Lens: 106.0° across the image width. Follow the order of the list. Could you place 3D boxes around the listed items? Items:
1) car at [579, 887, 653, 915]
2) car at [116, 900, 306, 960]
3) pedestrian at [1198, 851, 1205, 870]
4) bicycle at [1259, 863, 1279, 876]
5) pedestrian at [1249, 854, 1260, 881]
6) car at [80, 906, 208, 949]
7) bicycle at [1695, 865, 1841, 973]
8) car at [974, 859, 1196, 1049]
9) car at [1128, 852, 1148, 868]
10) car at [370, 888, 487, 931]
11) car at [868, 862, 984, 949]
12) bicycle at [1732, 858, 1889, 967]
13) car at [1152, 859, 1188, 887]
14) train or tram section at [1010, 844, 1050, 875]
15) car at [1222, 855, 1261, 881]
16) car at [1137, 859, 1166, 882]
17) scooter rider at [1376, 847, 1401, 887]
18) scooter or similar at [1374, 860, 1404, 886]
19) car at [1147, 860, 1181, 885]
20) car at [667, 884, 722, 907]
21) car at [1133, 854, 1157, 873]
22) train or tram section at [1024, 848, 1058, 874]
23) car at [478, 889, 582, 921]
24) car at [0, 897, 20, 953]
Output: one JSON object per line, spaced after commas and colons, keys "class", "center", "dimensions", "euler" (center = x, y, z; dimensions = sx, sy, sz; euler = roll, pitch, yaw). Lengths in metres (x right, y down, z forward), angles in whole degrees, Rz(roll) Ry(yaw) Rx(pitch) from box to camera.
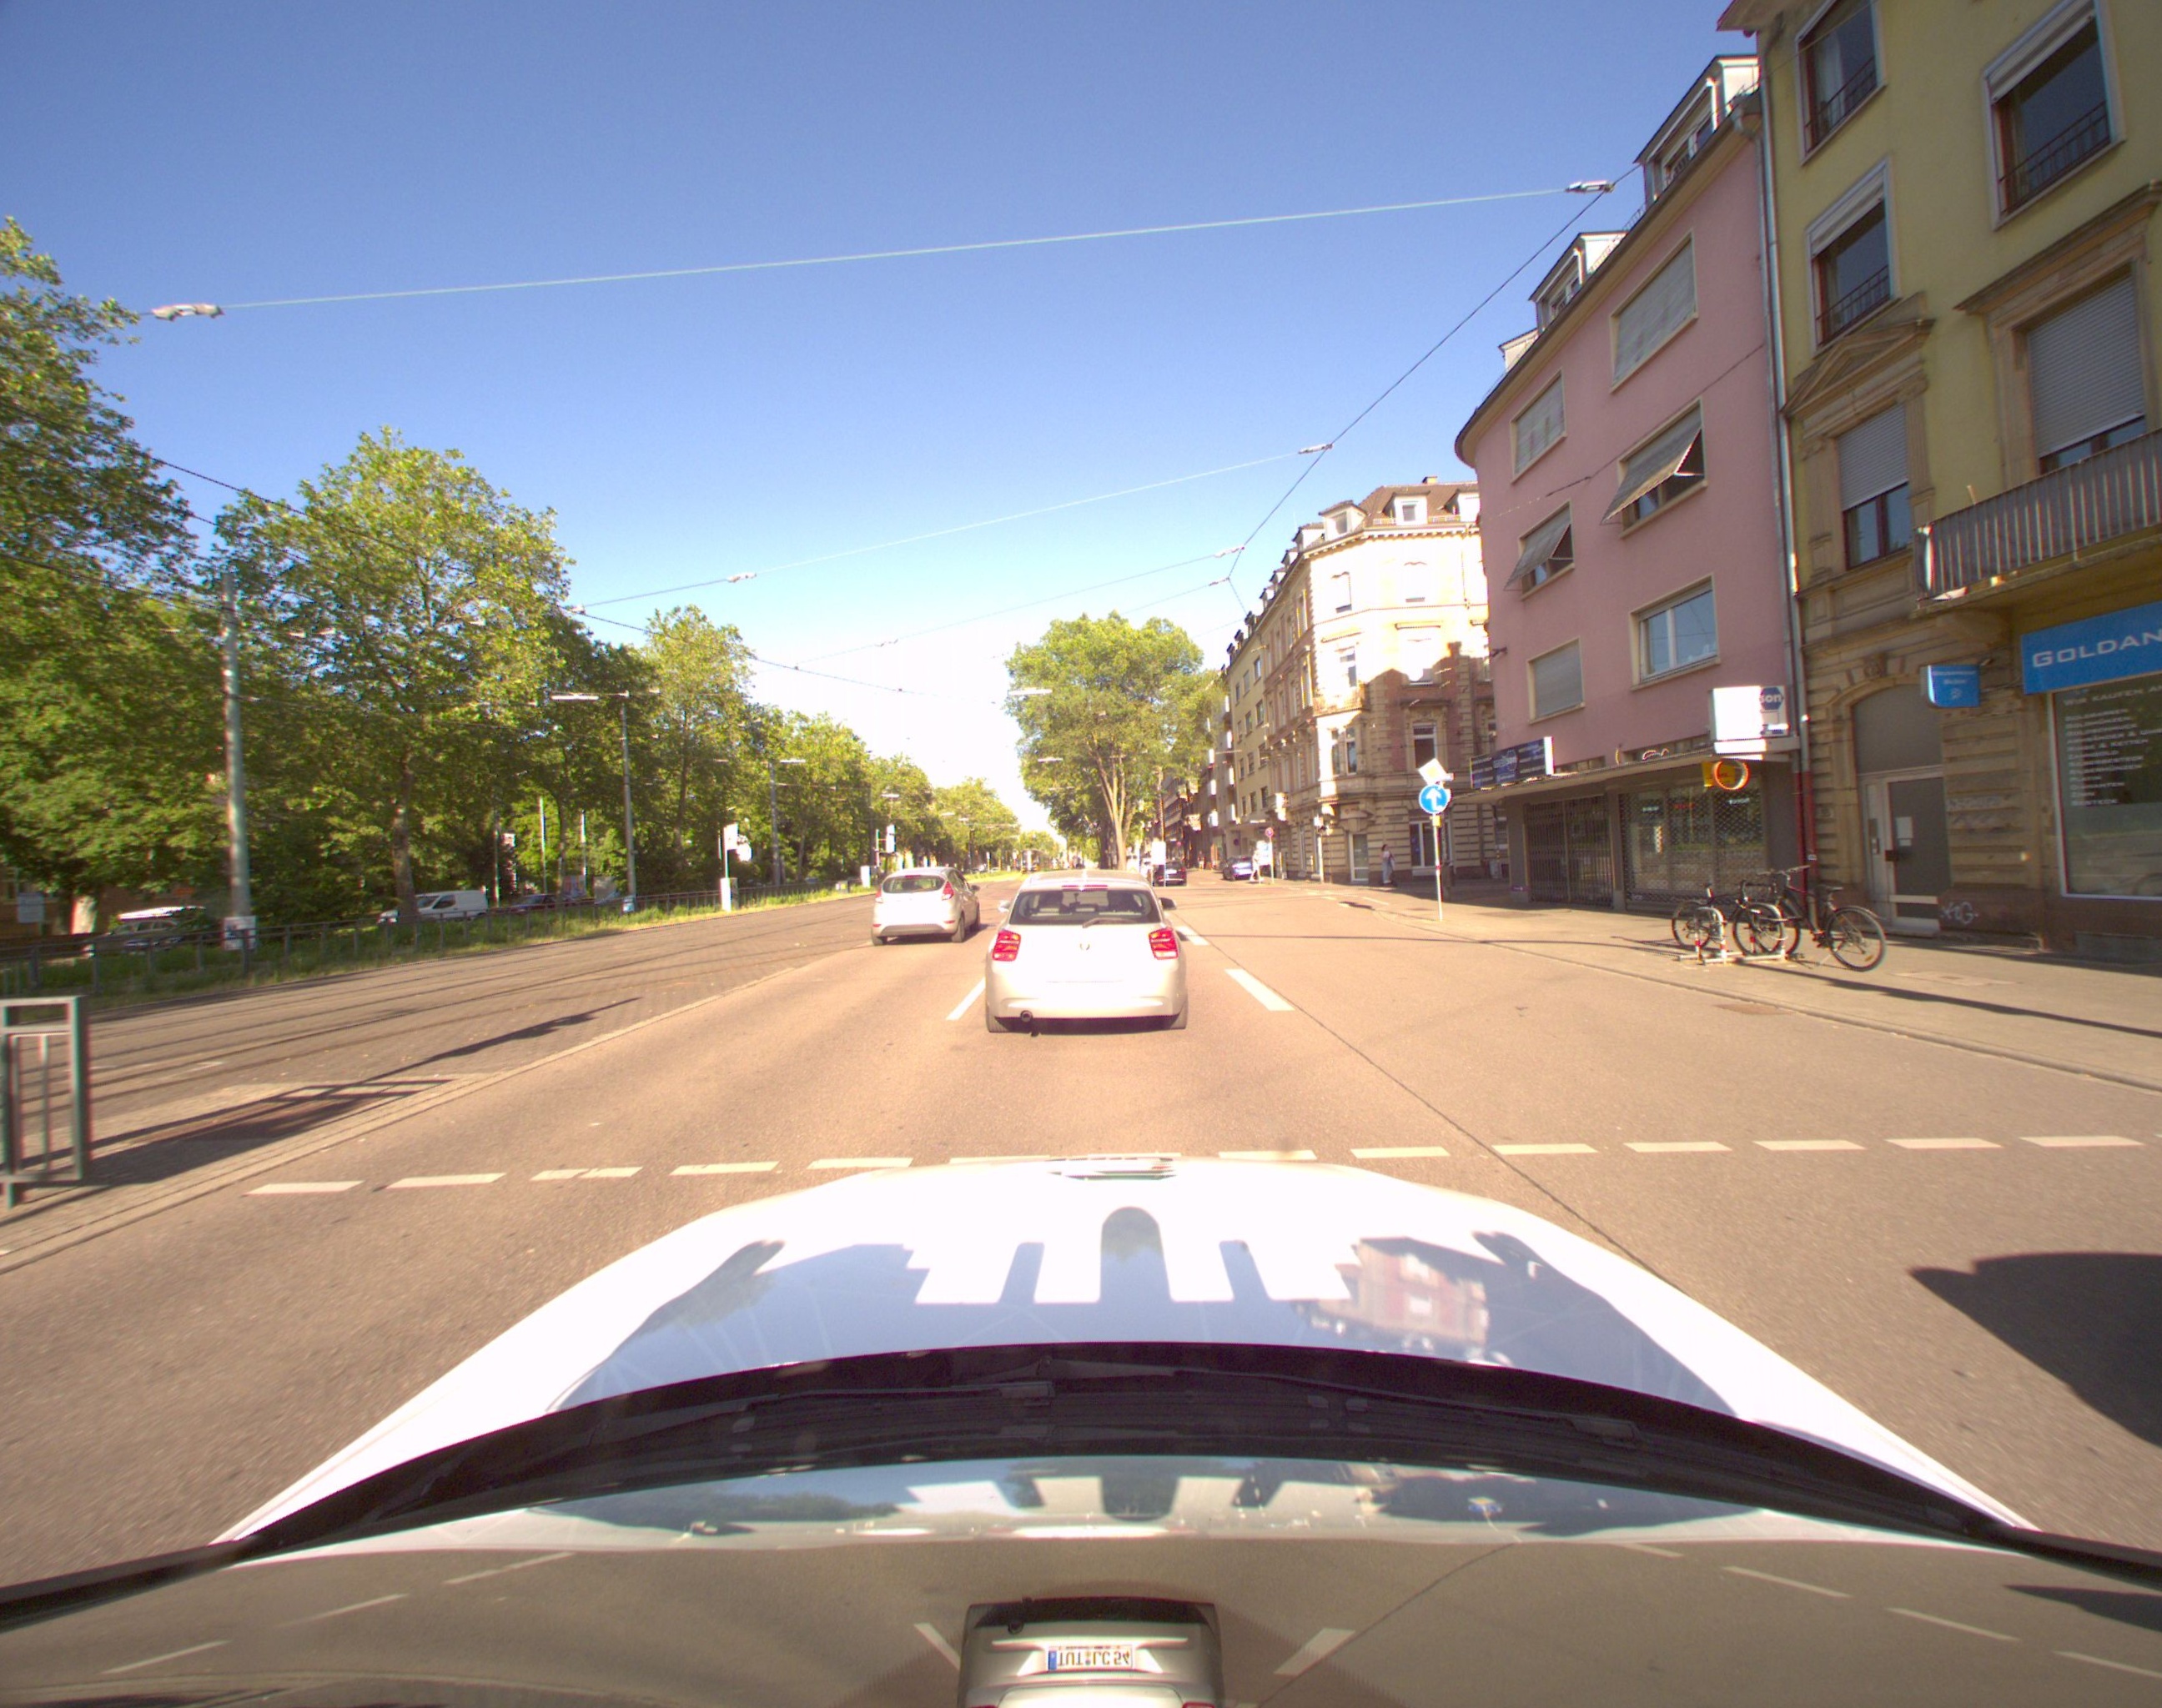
{"class": "car", "center": [-27.945, 2.798, 49.112], "dimensions": [1.929, 1.509, 4.278], "euler": [-2, -2, 0]}
{"class": "car", "center": [-28.224, 2.418, 26.644], "dimensions": [1.664, 1.509, 4.145], "euler": [-3, 0, 0]}
{"class": "pedestrian", "center": [11.644, 0.608, 78.576], "dimensions": [0.503, 1.802, 0.806], "euler": [-3, -1, 1]}
{"class": "bicycle", "center": [11.681, 0.980, 50.683], "dimensions": [0.752, 0.770, 1.945], "euler": [-2, 0, 0]}
{"class": "pedestrian", "center": [10.295, 0.781, 48.251], "dimensions": [0.554, 1.557, 0.390], "euler": [-3, -1, 6]}
{"class": "car", "center": [-39.071, 3.055, 33.982], "dimensions": [3.968, 1.494, 1.395], "euler": [-3, -1, 5]}
{"class": "bicycle", "center": [8.184, 0.727, 9.799], "dimensions": [0.411, 1.141, 1.813], "euler": [-2, 0, 8]}
{"class": "car", "center": [0.091, 0.804, 8.434], "dimensions": [1.733, 1.467, 4.001], "euler": [-1, 0, 2]}
{"class": "car", "center": [5.676, 0.566, 81.158], "dimensions": [1.719, 1.507, 3.555], "euler": [-1, 0, 0]}
{"class": "car", "center": [-28.228, 2.358, 35.397], "dimensions": [1.664, 1.509, 4.145], "euler": [-2, 0, 0]}
{"class": "car", "center": [-3.000, 0.939, 16.524], "dimensions": [1.604, 1.467, 3.888], "euler": [-2, 0, -1]}
{"class": "bicycle", "center": [8.679, 0.645, 9.784], "dimensions": [0.446, 1.159, 1.762], "euler": [-3, 0, 8]}
{"class": "car", "center": [4.821, 1.008, 44.586], "dimensions": [1.728, 1.433, 3.681], "euler": [-1, 0, 3]}
{"class": "train or tram section", "center": [-7.089, 0.793, 117.225], "dimensions": [3.954, 3.866, 17.495], "euler": [-2, 0, 2]}
{"class": "car", "center": [9.895, 0.827, 50.500], "dimensions": [1.729, 1.519, 3.637], "euler": [-1, 0, 1]}
{"class": "car", "center": [4.807, 1.090, 55.853], "dimensions": [1.719, 1.507, 3.555], "euler": [-1, 0, 0]}
{"class": "scooter rider", "center": [12.077, 0.513, 31.978], "dimensions": [0.467, 1.505, 0.806], "euler": [-2, -1, -18]}
{"class": "scooter or similar", "center": [12.079, 0.754, 31.954], "dimensions": [0.338, 0.988, 1.276], "euler": [-2, 0, -18]}
{"class": "car", "center": [5.043, 1.078, 49.718], "dimensions": [1.738, 1.433, 3.555], "euler": [-1, 0, 0]}
{"class": "car", "center": [-28.368, 3.038, 59.907], "dimensions": [1.929, 1.509, 4.278], "euler": [-2, -2, 0]}
{"class": "car", "center": [5.342, 0.783, 68.619], "dimensions": [1.719, 1.507, 3.555], "euler": [-1, 0, 0]}
{"class": "train or tram section", "center": [-6.497, 1.137, 134.586], "dimensions": [3.990, 3.866, 17.495], "euler": [-2, 0, 2]}
{"class": "car", "center": [-27.962, 2.562, 41.556], "dimensions": [1.929, 1.349, 4.848], "euler": [-2, -2, 0]}
{"class": "car", "center": [-40.852, 2.657, 28.540], "dimensions": [1.986, 2.013, 4.001], "euler": [-3, 0, 2]}
